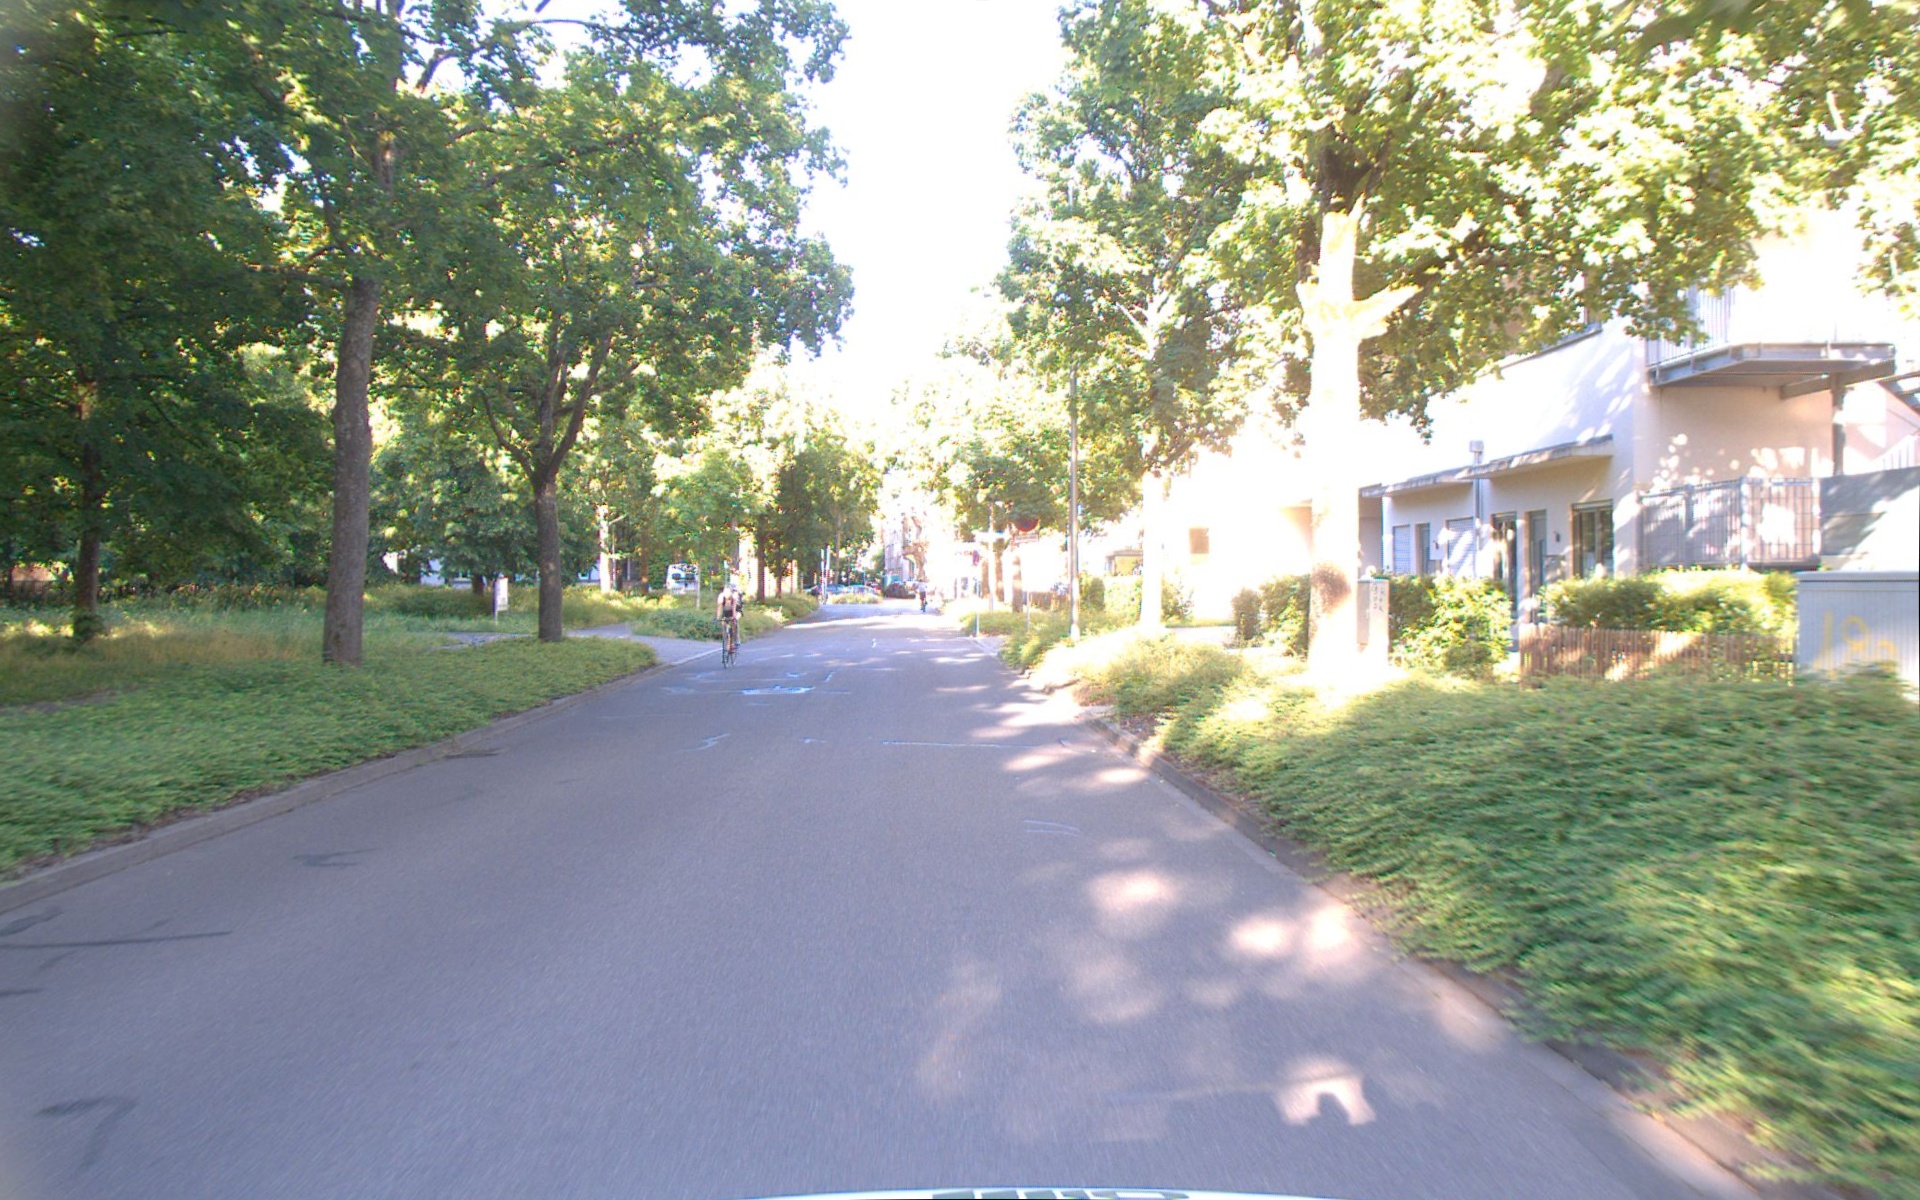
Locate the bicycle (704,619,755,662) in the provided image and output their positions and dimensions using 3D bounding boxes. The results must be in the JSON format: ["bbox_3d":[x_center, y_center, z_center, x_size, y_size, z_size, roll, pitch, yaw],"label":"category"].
[{"bbox_3d":[-4.618,0.800,33.241,0.625,0.754,2.126,-2,1,2],"label":"bicycle"}]

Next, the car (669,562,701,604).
[{"bbox_3d":[-17.455,-1.064,104.844,1.958,2.552,3.990,0,0,-11],"label":"car"}]

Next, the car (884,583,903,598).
[{"bbox_3d":[-6.912,-0.993,172.111,1.776,1.527,3.995,0,1,-6],"label":"car"}]

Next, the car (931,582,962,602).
[{"bbox_3d":[-1.066,-0.639,128.943,1.778,1.527,3.991,-1,1,-9],"label":"car"}]

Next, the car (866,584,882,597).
[{"bbox_3d":[-10.332,-1.170,199.160,1.776,1.527,3.995,0,1,-6],"label":"car"}]

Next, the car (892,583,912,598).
[{"bbox_3d":[-5.849,-0.956,165.614,1.776,1.527,3.995,0,1,-6],"label":"car"}]

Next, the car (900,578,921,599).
[{"bbox_3d":[-4.750,-1.110,157.516,1.776,1.959,3.995,0,0,-6],"label":"car"}]

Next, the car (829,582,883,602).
[{"bbox_3d":[-7.951,-0.610,126.528,3.914,1.527,1.813,0,0,-10],"label":"car"}]

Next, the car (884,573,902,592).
[{"bbox_3d":[-7.380,-1.949,182.304,1.776,2.086,3.995,0,0,-6],"label":"car"}]

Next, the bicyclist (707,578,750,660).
[{"bbox_3d":[-4.631,0.366,33.147,0.620,1.582,1.003,-2,0,2],"label":"bicyclist"}]
